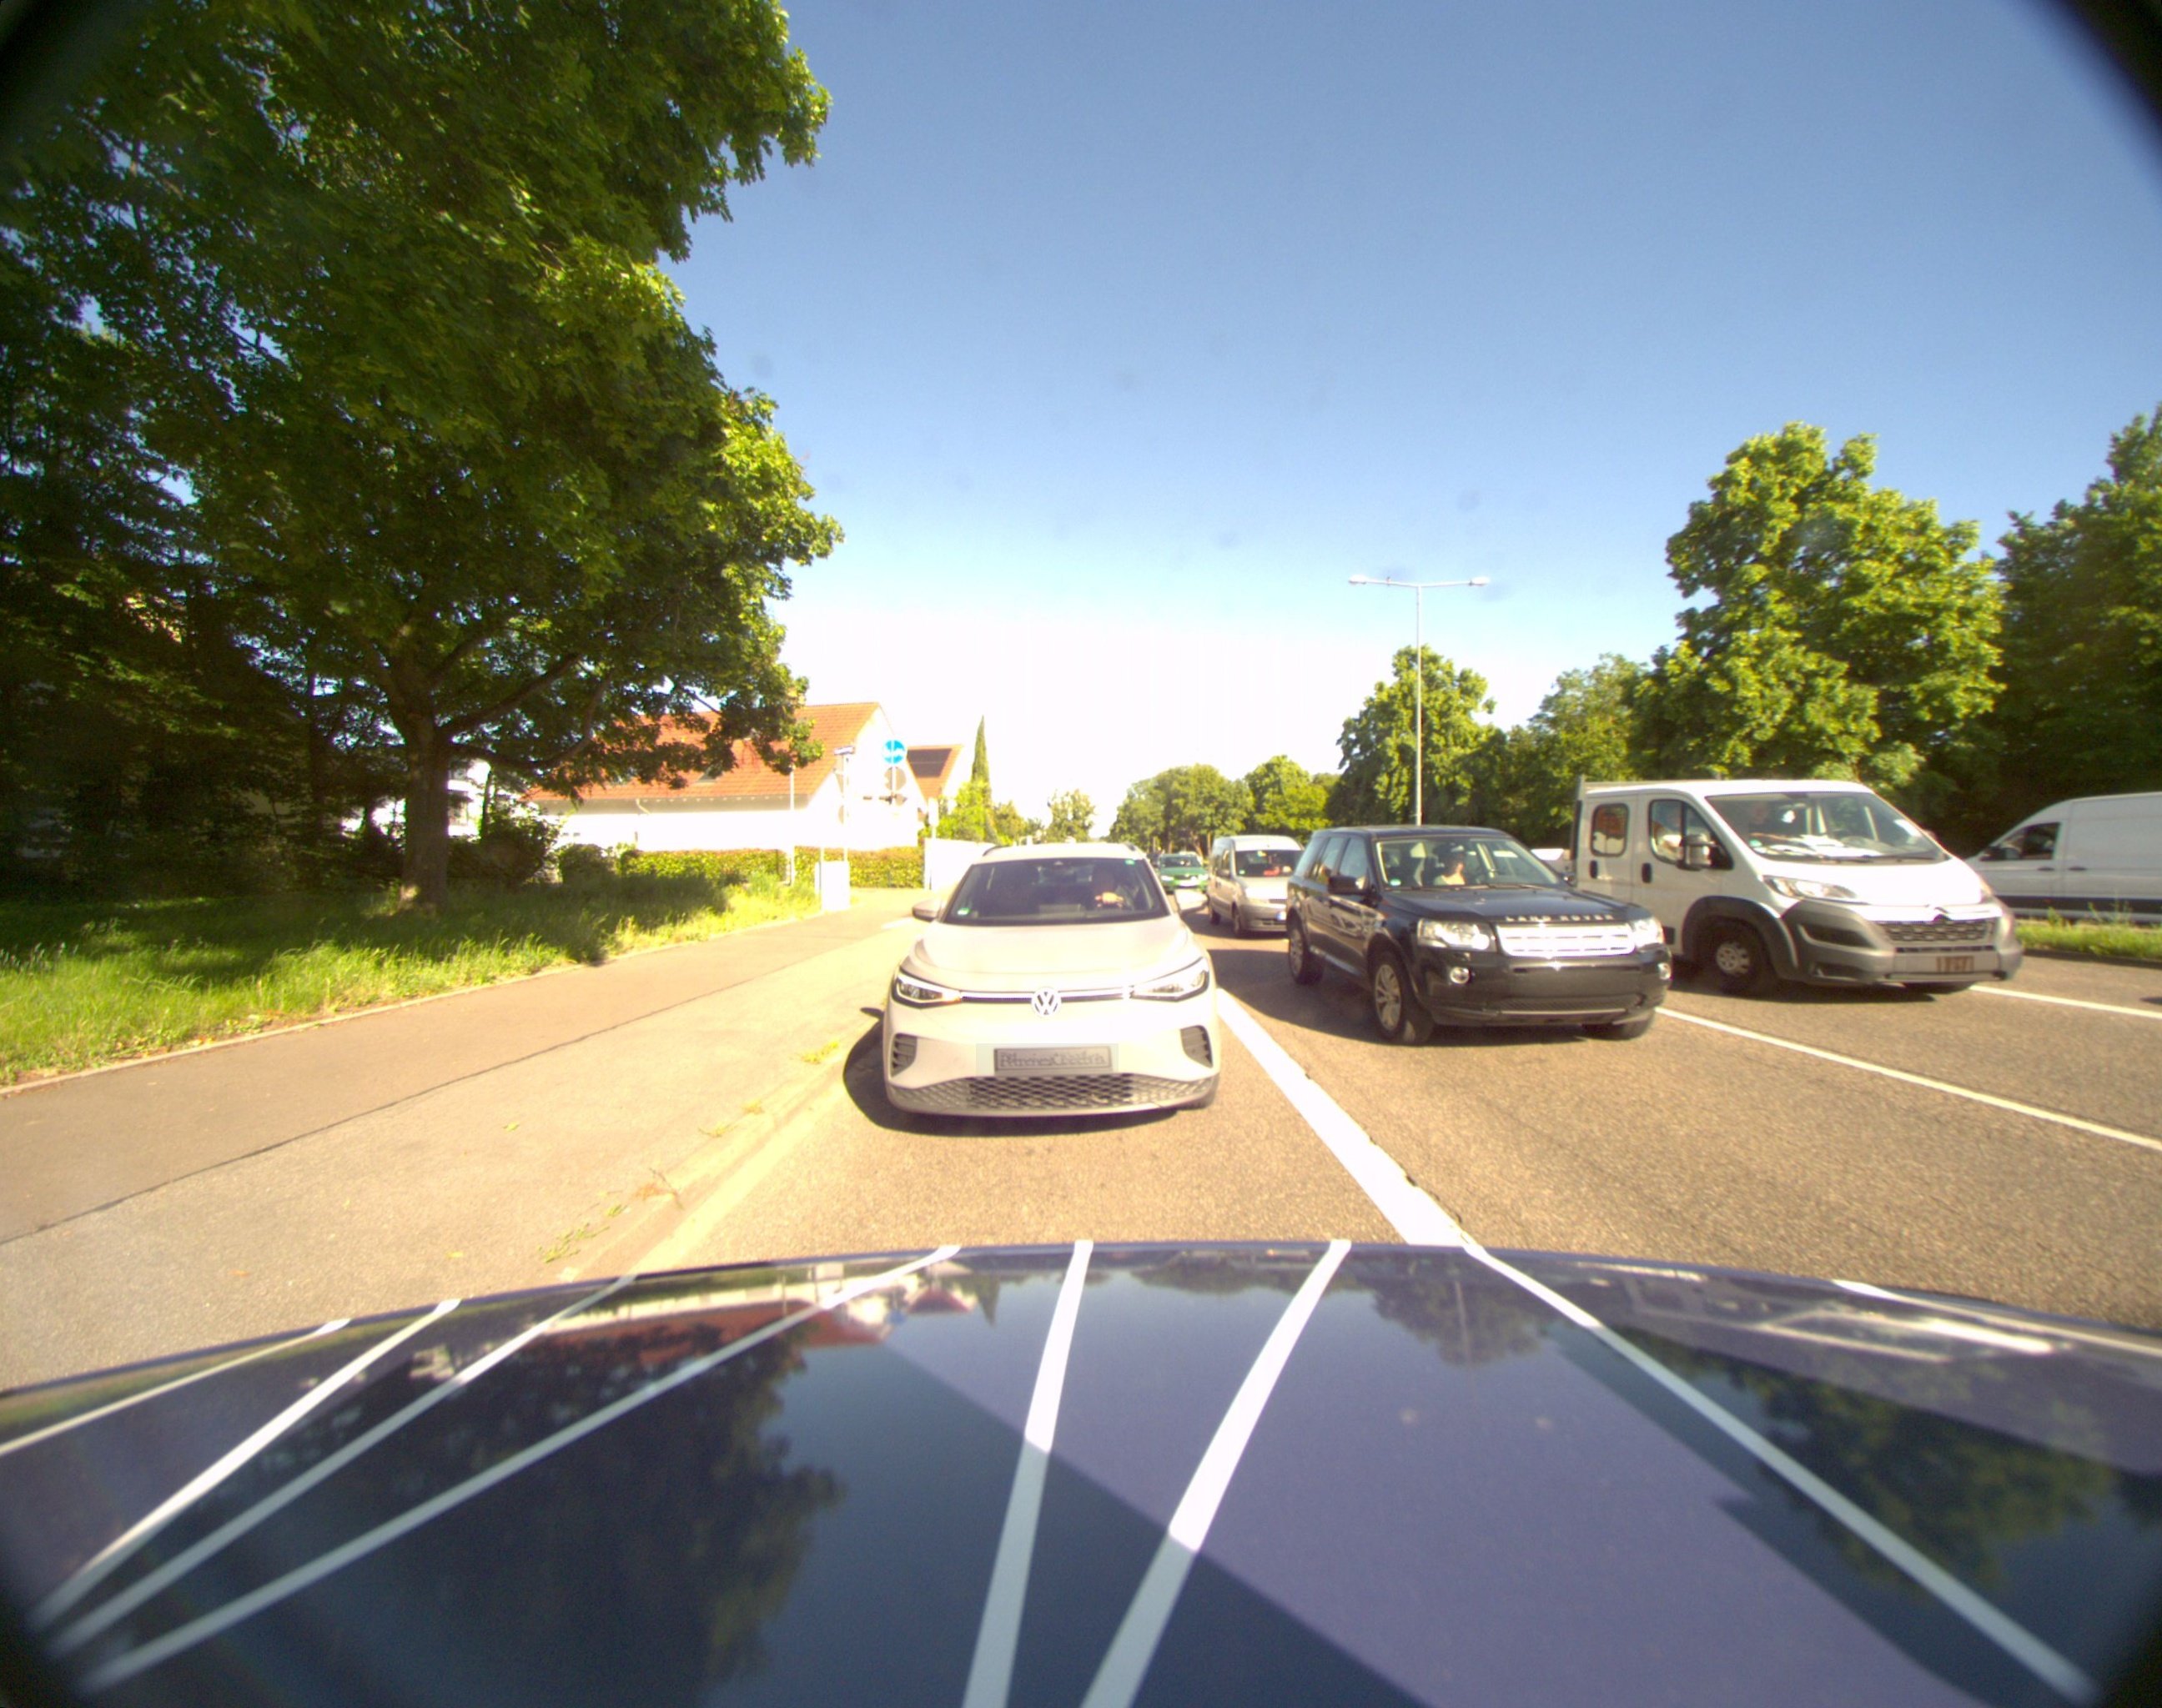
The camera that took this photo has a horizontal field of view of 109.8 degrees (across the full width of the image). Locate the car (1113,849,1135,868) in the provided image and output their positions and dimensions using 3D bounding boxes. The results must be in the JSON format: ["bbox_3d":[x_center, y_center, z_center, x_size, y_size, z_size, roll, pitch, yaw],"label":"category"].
[{"bbox_3d":[3.630,0.365,64.774,1.726,1.630,4.000,0,0,1],"label":"car"}]

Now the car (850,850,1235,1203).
[{"bbox_3d":[-0.160,0.827,5.781,1.858,1.679,4.206,0,1,1],"label":"car"}]

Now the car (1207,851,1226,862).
[{"bbox_3d":[19.962,0.338,111.955,1.893,1.515,4.503,0,0,0],"label":"car"}]

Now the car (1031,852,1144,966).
[{"bbox_3d":[0.122,0.814,13.224,1.632,1.586,4.024,-1,1,1],"label":"car"}]

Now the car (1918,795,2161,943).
[{"bbox_3d":[19.161,0.250,13.422,2.105,2.478,6.003,0,0,0],"label":"car"}]

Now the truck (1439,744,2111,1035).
[{"bbox_3d":[7.225,0.239,9.564,2.185,2.307,6.841,-2,1,0],"label":"truck"}]

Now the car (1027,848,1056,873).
[{"bbox_3d":[-2.600,0.418,50.403,1.630,1.523,3.931,-1,0,0],"label":"car"}]

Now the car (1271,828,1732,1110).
[{"bbox_3d":[3.176,0.690,6.937,1.816,1.721,4.385,-1,1,1],"label":"car"}]

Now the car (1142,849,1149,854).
[{"bbox_3d":[21.895,-0.730,257.820,1.878,1.674,4.000,0,0,1],"label":"car"}]

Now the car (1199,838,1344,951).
[{"bbox_3d":[3.338,0.599,14.168,1.632,1.741,4.385,-1,1,1],"label":"car"}]

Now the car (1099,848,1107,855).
[{"bbox_3d":[5.046,-0.601,171.020,1.726,1.630,4.000,0,0,1],"label":"car"}]

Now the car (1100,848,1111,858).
[{"bbox_3d":[4.135,-0.227,129.931,1.726,1.630,4.000,0,0,1],"label":"car"}]

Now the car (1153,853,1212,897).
[{"bbox_3d":[3.626,0.699,27.617,1.630,1.466,3.931,0,0,0],"label":"car"}]

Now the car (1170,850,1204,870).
[{"bbox_3d":[7.636,0.420,54.993,1.727,1.436,3.999,0,0,-3],"label":"car"}]
